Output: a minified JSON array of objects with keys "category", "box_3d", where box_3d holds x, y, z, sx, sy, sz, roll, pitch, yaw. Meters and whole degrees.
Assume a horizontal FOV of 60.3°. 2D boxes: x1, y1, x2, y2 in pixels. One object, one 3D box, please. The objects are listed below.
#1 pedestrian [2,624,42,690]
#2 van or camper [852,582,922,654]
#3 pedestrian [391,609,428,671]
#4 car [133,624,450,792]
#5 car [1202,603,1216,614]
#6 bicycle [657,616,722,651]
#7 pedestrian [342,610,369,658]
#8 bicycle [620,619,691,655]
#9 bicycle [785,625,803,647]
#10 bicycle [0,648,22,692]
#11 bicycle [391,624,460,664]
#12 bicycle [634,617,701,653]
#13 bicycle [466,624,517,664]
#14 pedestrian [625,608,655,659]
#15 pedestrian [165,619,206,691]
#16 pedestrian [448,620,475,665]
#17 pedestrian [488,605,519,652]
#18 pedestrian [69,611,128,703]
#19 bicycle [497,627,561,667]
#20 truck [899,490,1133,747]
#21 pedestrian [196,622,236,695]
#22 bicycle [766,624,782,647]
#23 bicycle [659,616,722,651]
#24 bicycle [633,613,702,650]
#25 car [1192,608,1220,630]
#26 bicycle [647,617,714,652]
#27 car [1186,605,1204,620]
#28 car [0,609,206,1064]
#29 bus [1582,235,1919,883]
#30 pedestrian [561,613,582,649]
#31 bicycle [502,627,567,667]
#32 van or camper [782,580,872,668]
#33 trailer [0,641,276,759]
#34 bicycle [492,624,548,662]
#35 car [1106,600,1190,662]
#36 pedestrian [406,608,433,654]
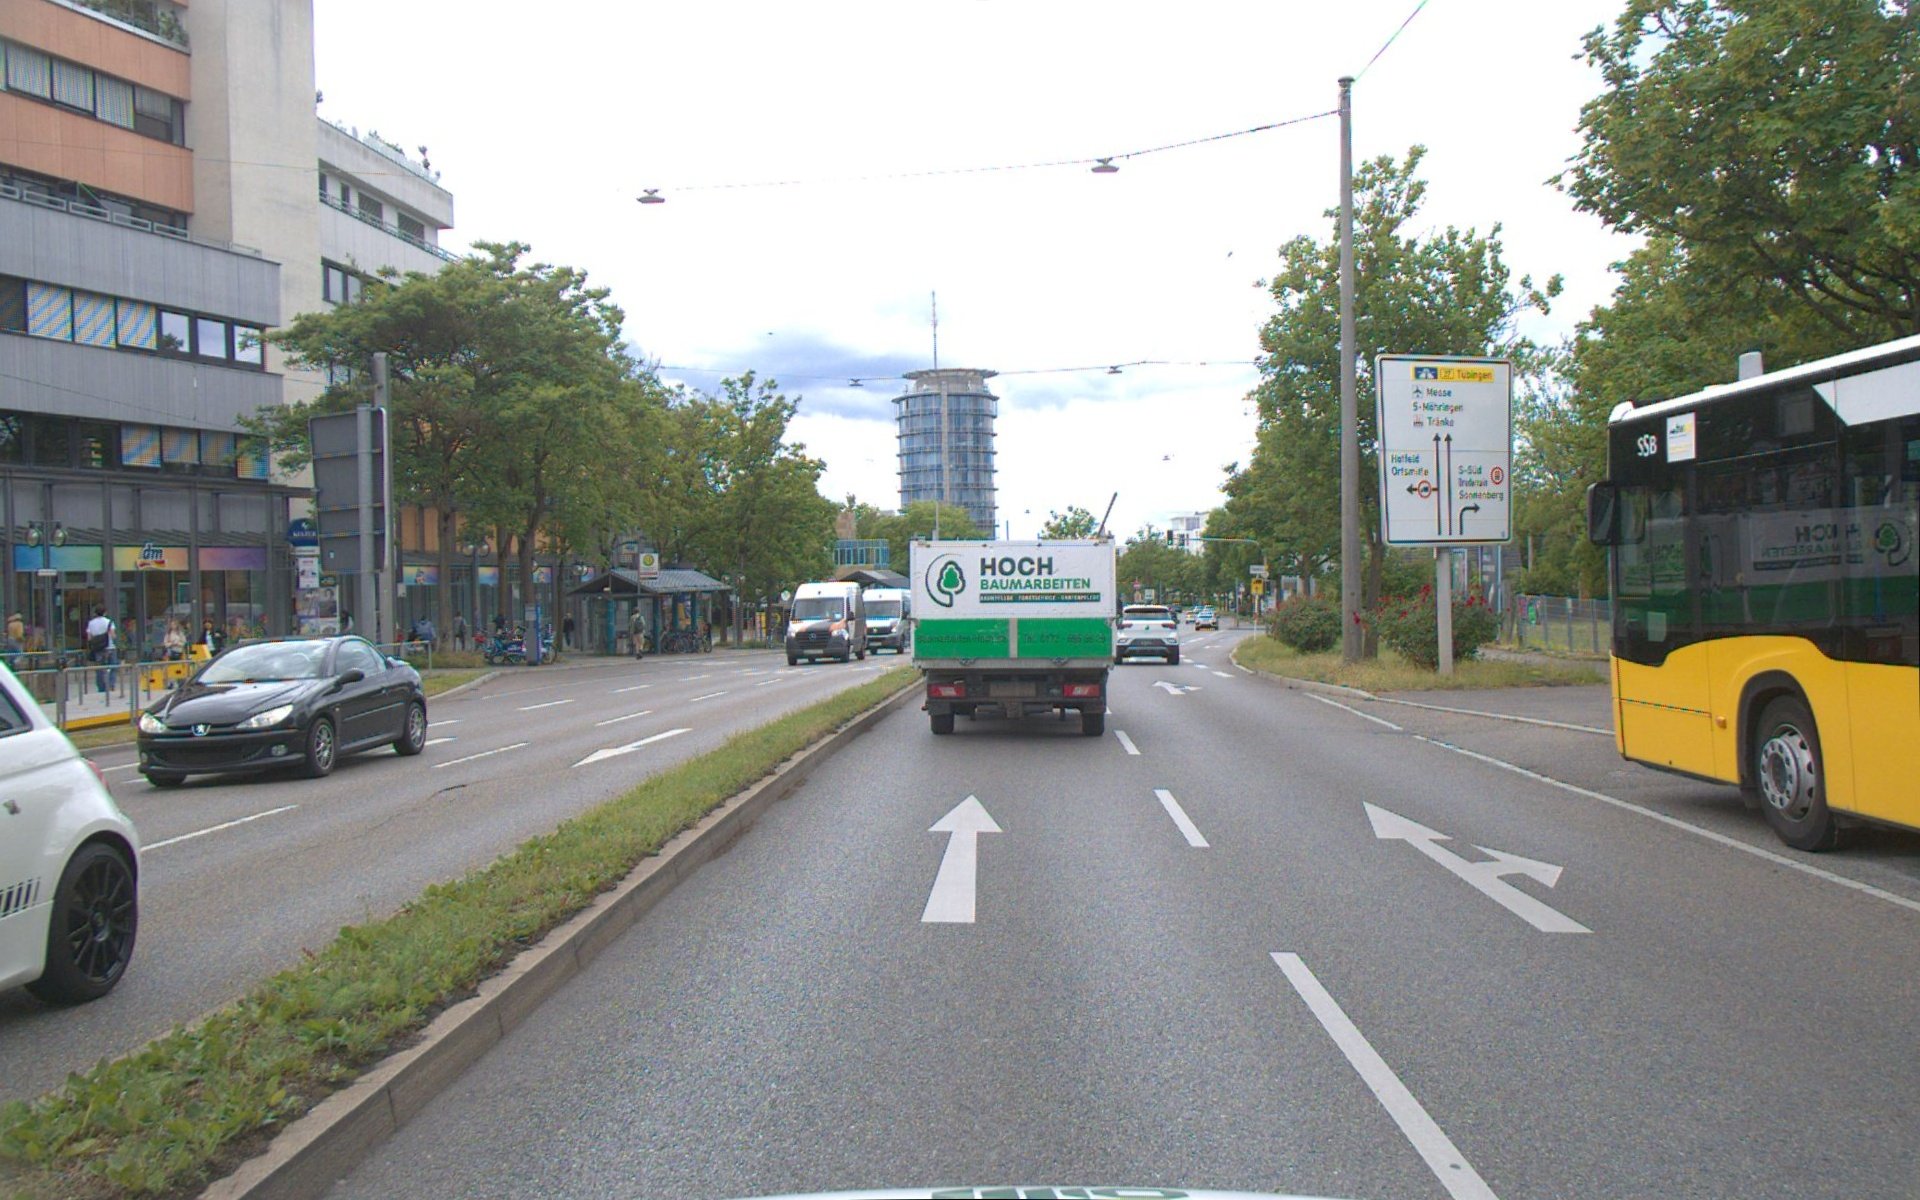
[{"category":"pedestrian","box_3d":[-25.139,1.534,44.353,0.636,1.730,0.669,-2,-1,3]},{"category":"van or camper","box_3d":[-2.883,0.687,66.670,1.990,2.643,6.119,-3,0,4]},{"category":"pedestrian","box_3d":[-15.883,1.150,47.715,0.759,1.743,0.707,1,-1,5]},{"category":"car","box_3d":[-6.651,1.004,16.917,1.474,1.368,3.950,-3,0,2]},{"category":"car","box_3d":[37.099,1.274,246.835,1.951,1.579,4.003,-2,-1,8]},{"category":"bicycle","box_3d":[-12.593,1.572,77.044,2.838,1.533,0.701,-2,-1,3]},{"category":"pedestrian","box_3d":[-20.934,1.168,57.276,0.623,1.628,0.619,0,-1,42]},{"category":"bicycle","box_3d":[-13.211,1.587,71.820,2.838,1.533,0.973,0,-1,3]},{"category":"bicycle","box_3d":[-8.829,1.918,88.098,0.813,1.102,1.935,-2,0,-3]},{"category":"bicycle","box_3d":[-26.553,1.941,44.887,0.658,1.181,2.020,-2,0,14]},{"category":"bicycle","box_3d":[-17.201,1.408,53.213,2.000,1.181,0.664,-2,0,-41]},{"category":"bicycle","box_3d":[-13.226,1.566,74.748,2.838,1.533,0.806,-2,-1,3]},{"category":"bicycle","box_3d":[-14.725,1.372,52.048,0.590,1.181,1.967,-2,0,14]},{"category":"pedestrian","box_3d":[-11.700,1.223,60.481,0.688,1.854,1.214,0,-1,8]},{"category":"pedestrian","box_3d":[-17.572,1.239,37.534,0.586,1.601,0.620,-2,0,0]},{"category":"pedestrian","box_3d":[-19.616,1.665,65.110,0.754,1.746,0.790,1,-1,2]},{"category":"pedestrian","box_3d":[-17.058,1.060,61.766,0.759,1.746,0.785,0,-1,28]},{"category":"pedestrian","box_3d":[-18.322,1.199,35.203,0.729,1.910,0.874,-2,0,3]},{"category":"bicycle","box_3d":[-13.593,1.480,52.191,0.594,1.181,1.953,-2,0,42]},{"category":"truck","box_3d":[0.823,0.163,20.448,2.419,2.657,6.551,0,0,4]},{"category":"pedestrian","box_3d":[-16.825,1.320,37.422,0.586,1.601,0.620,-2,0,0]},{"category":"bicycle","box_3d":[-9.917,1.893,88.152,0.699,1.156,1.955,-2,0,-4]},{"category":"bicycle","box_3d":[-12.679,1.572,77.930,2.838,1.533,0.599,-2,-1,3]},{"category":"bicycle","box_3d":[-12.882,1.363,72.885,2.838,1.533,0.892,-2,-1,3]},{"category":"car","box_3d":[19.268,1.483,129.623,1.951,1.579,4.003,-2,-1,7]},{"category":"bicycle","box_3d":[-12.735,1.569,75.364,2.838,1.533,0.806,-2,-1,3]},{"category":"car","box_3d":[26.793,1.417,188.946,1.951,1.579,4.003,-2,-1,8]},{"category":"car","box_3d":[-4.037,0.815,5.210,1.555,1.528,3.718,-1,0,1]},{"category":"bus","box_3d":[6.329,-0.181,8.007,2.921,3.298,9.865,2,0,0]},{"category":"pedestrian","box_3d":[-19.398,1.541,82.625,0.753,1.746,0.822,1,-1,6]},{"category":"bicycle","box_3d":[-13.204,1.457,51.407,0.594,1.181,1.952,1,0,43]},{"category":"van or camper","box_3d":[-4.333,0.749,54.842,1.952,2.643,6.119,-3,0,4]},{"category":"trailer","box_3d":[-14.142,1.476,24.928,2.783,1.356,12.123,-2,0,-1]},{"category":"bicycle","box_3d":[-14.193,1.385,53.415,0.594,1.181,1.680,-2,0,41]},{"category":"car","box_3d":[5.117,0.802,45.525,1.829,1.531,4.774,-1,1,1]},{"category":"pedestrian","box_3d":[-18.964,1.081,58.045,0.652,1.611,0.707,1,-1,5]}]
